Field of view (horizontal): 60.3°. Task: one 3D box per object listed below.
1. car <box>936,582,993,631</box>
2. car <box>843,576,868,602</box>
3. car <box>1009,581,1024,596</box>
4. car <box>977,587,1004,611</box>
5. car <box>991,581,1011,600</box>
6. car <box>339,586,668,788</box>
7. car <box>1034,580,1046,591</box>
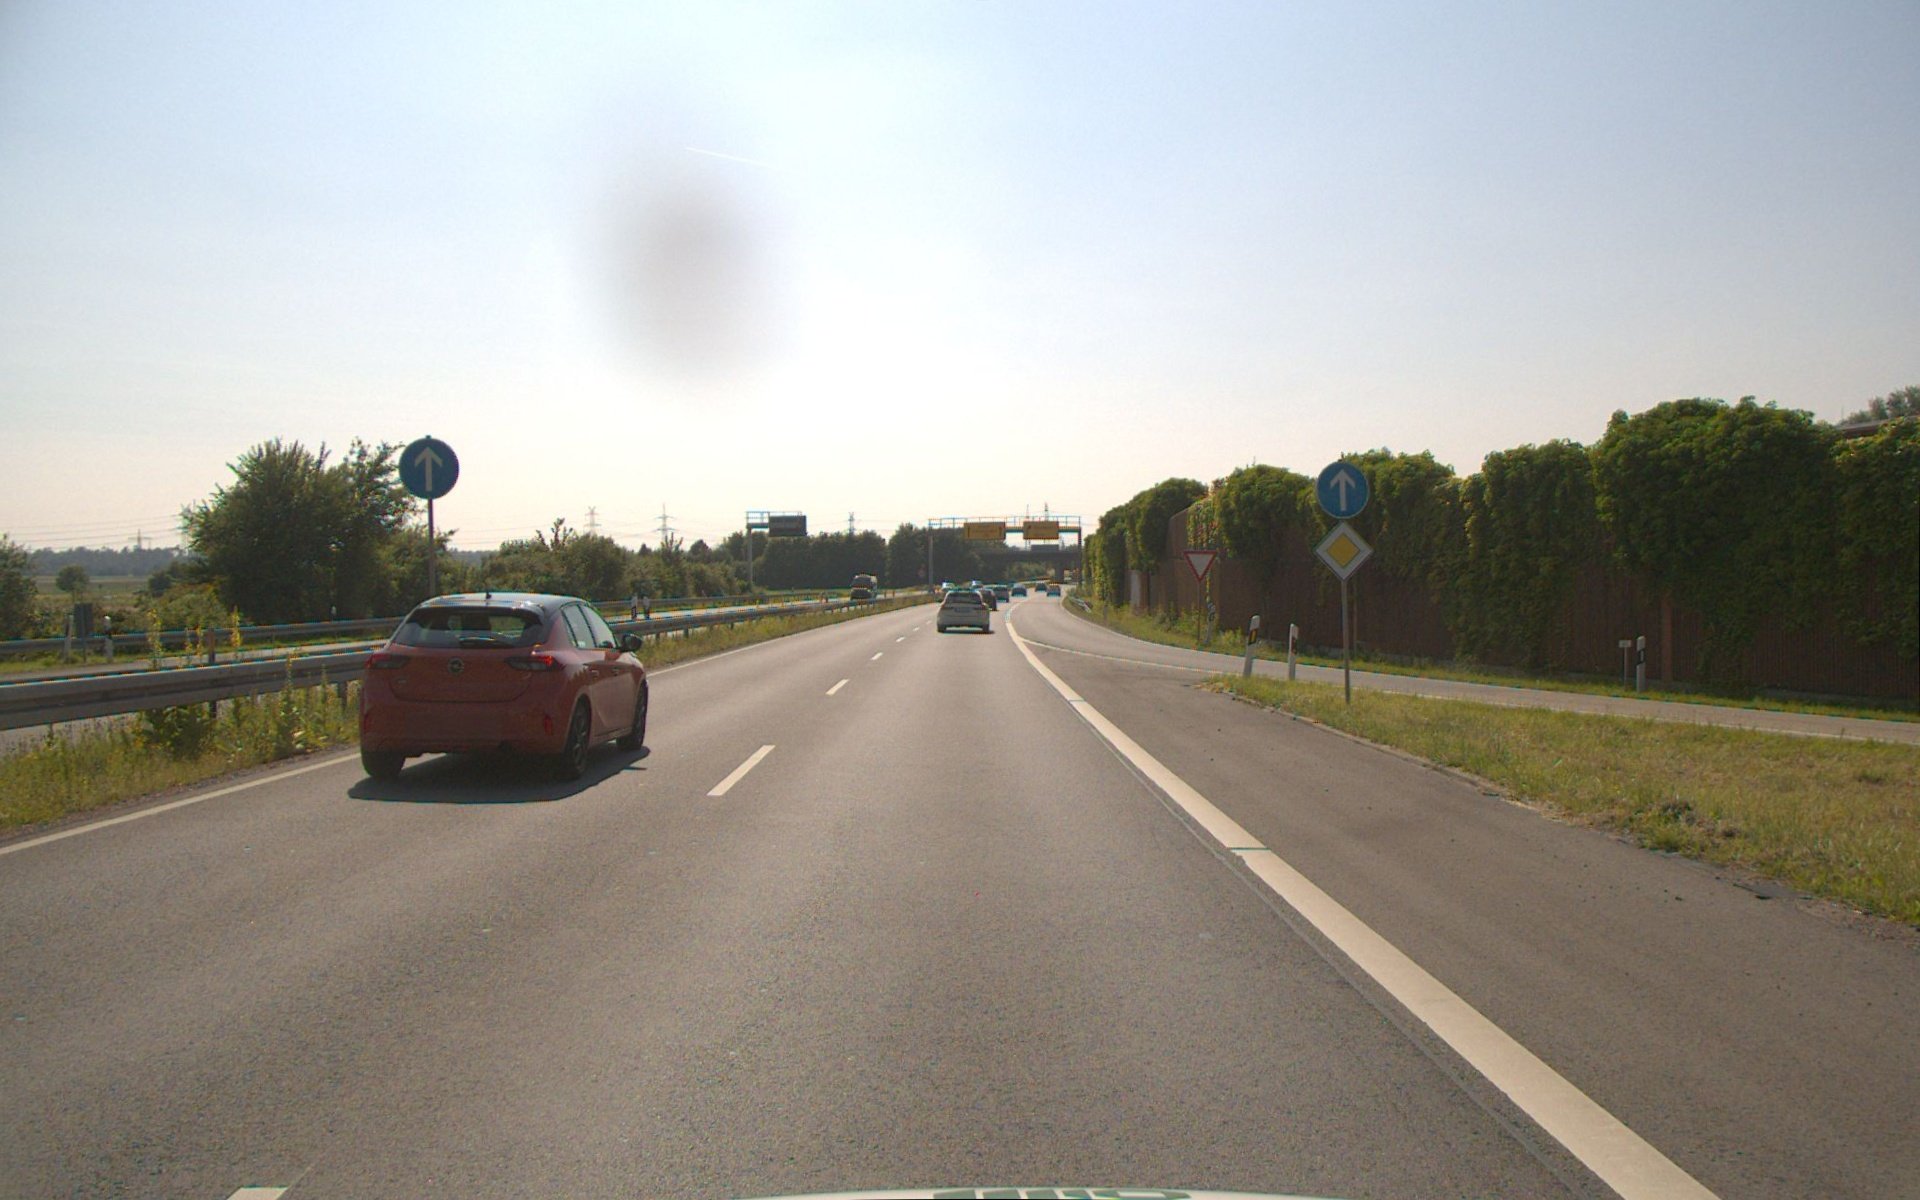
[{"bbox_3d":[0.152,0.209,59.146,1.918,1.629,4.107,1,1,0],"label":"car"},{"bbox_3d":[-10.513,-1.109,166.445,2.095,2.585,5.809,0,0,0],"label":"car"},{"bbox_3d":[6.950,-1.470,204.853,1.803,1.834,4.001,0,0,1],"label":"car"},{"bbox_3d":[1.988,-0.081,109.435,1.756,1.570,3.672,0,0,0],"label":"car"},{"bbox_3d":[3.907,-0.929,157.147,1.732,1.767,3.634,0,0,4],"label":"car"},{"bbox_3d":[-3.750,0.647,14.388,1.674,1.462,4.411,-1,0,-1],"label":"car"},{"bbox_3d":[12.251,-2.196,253.299,1.802,1.728,4.002,0,0,4],"label":"car"}]
